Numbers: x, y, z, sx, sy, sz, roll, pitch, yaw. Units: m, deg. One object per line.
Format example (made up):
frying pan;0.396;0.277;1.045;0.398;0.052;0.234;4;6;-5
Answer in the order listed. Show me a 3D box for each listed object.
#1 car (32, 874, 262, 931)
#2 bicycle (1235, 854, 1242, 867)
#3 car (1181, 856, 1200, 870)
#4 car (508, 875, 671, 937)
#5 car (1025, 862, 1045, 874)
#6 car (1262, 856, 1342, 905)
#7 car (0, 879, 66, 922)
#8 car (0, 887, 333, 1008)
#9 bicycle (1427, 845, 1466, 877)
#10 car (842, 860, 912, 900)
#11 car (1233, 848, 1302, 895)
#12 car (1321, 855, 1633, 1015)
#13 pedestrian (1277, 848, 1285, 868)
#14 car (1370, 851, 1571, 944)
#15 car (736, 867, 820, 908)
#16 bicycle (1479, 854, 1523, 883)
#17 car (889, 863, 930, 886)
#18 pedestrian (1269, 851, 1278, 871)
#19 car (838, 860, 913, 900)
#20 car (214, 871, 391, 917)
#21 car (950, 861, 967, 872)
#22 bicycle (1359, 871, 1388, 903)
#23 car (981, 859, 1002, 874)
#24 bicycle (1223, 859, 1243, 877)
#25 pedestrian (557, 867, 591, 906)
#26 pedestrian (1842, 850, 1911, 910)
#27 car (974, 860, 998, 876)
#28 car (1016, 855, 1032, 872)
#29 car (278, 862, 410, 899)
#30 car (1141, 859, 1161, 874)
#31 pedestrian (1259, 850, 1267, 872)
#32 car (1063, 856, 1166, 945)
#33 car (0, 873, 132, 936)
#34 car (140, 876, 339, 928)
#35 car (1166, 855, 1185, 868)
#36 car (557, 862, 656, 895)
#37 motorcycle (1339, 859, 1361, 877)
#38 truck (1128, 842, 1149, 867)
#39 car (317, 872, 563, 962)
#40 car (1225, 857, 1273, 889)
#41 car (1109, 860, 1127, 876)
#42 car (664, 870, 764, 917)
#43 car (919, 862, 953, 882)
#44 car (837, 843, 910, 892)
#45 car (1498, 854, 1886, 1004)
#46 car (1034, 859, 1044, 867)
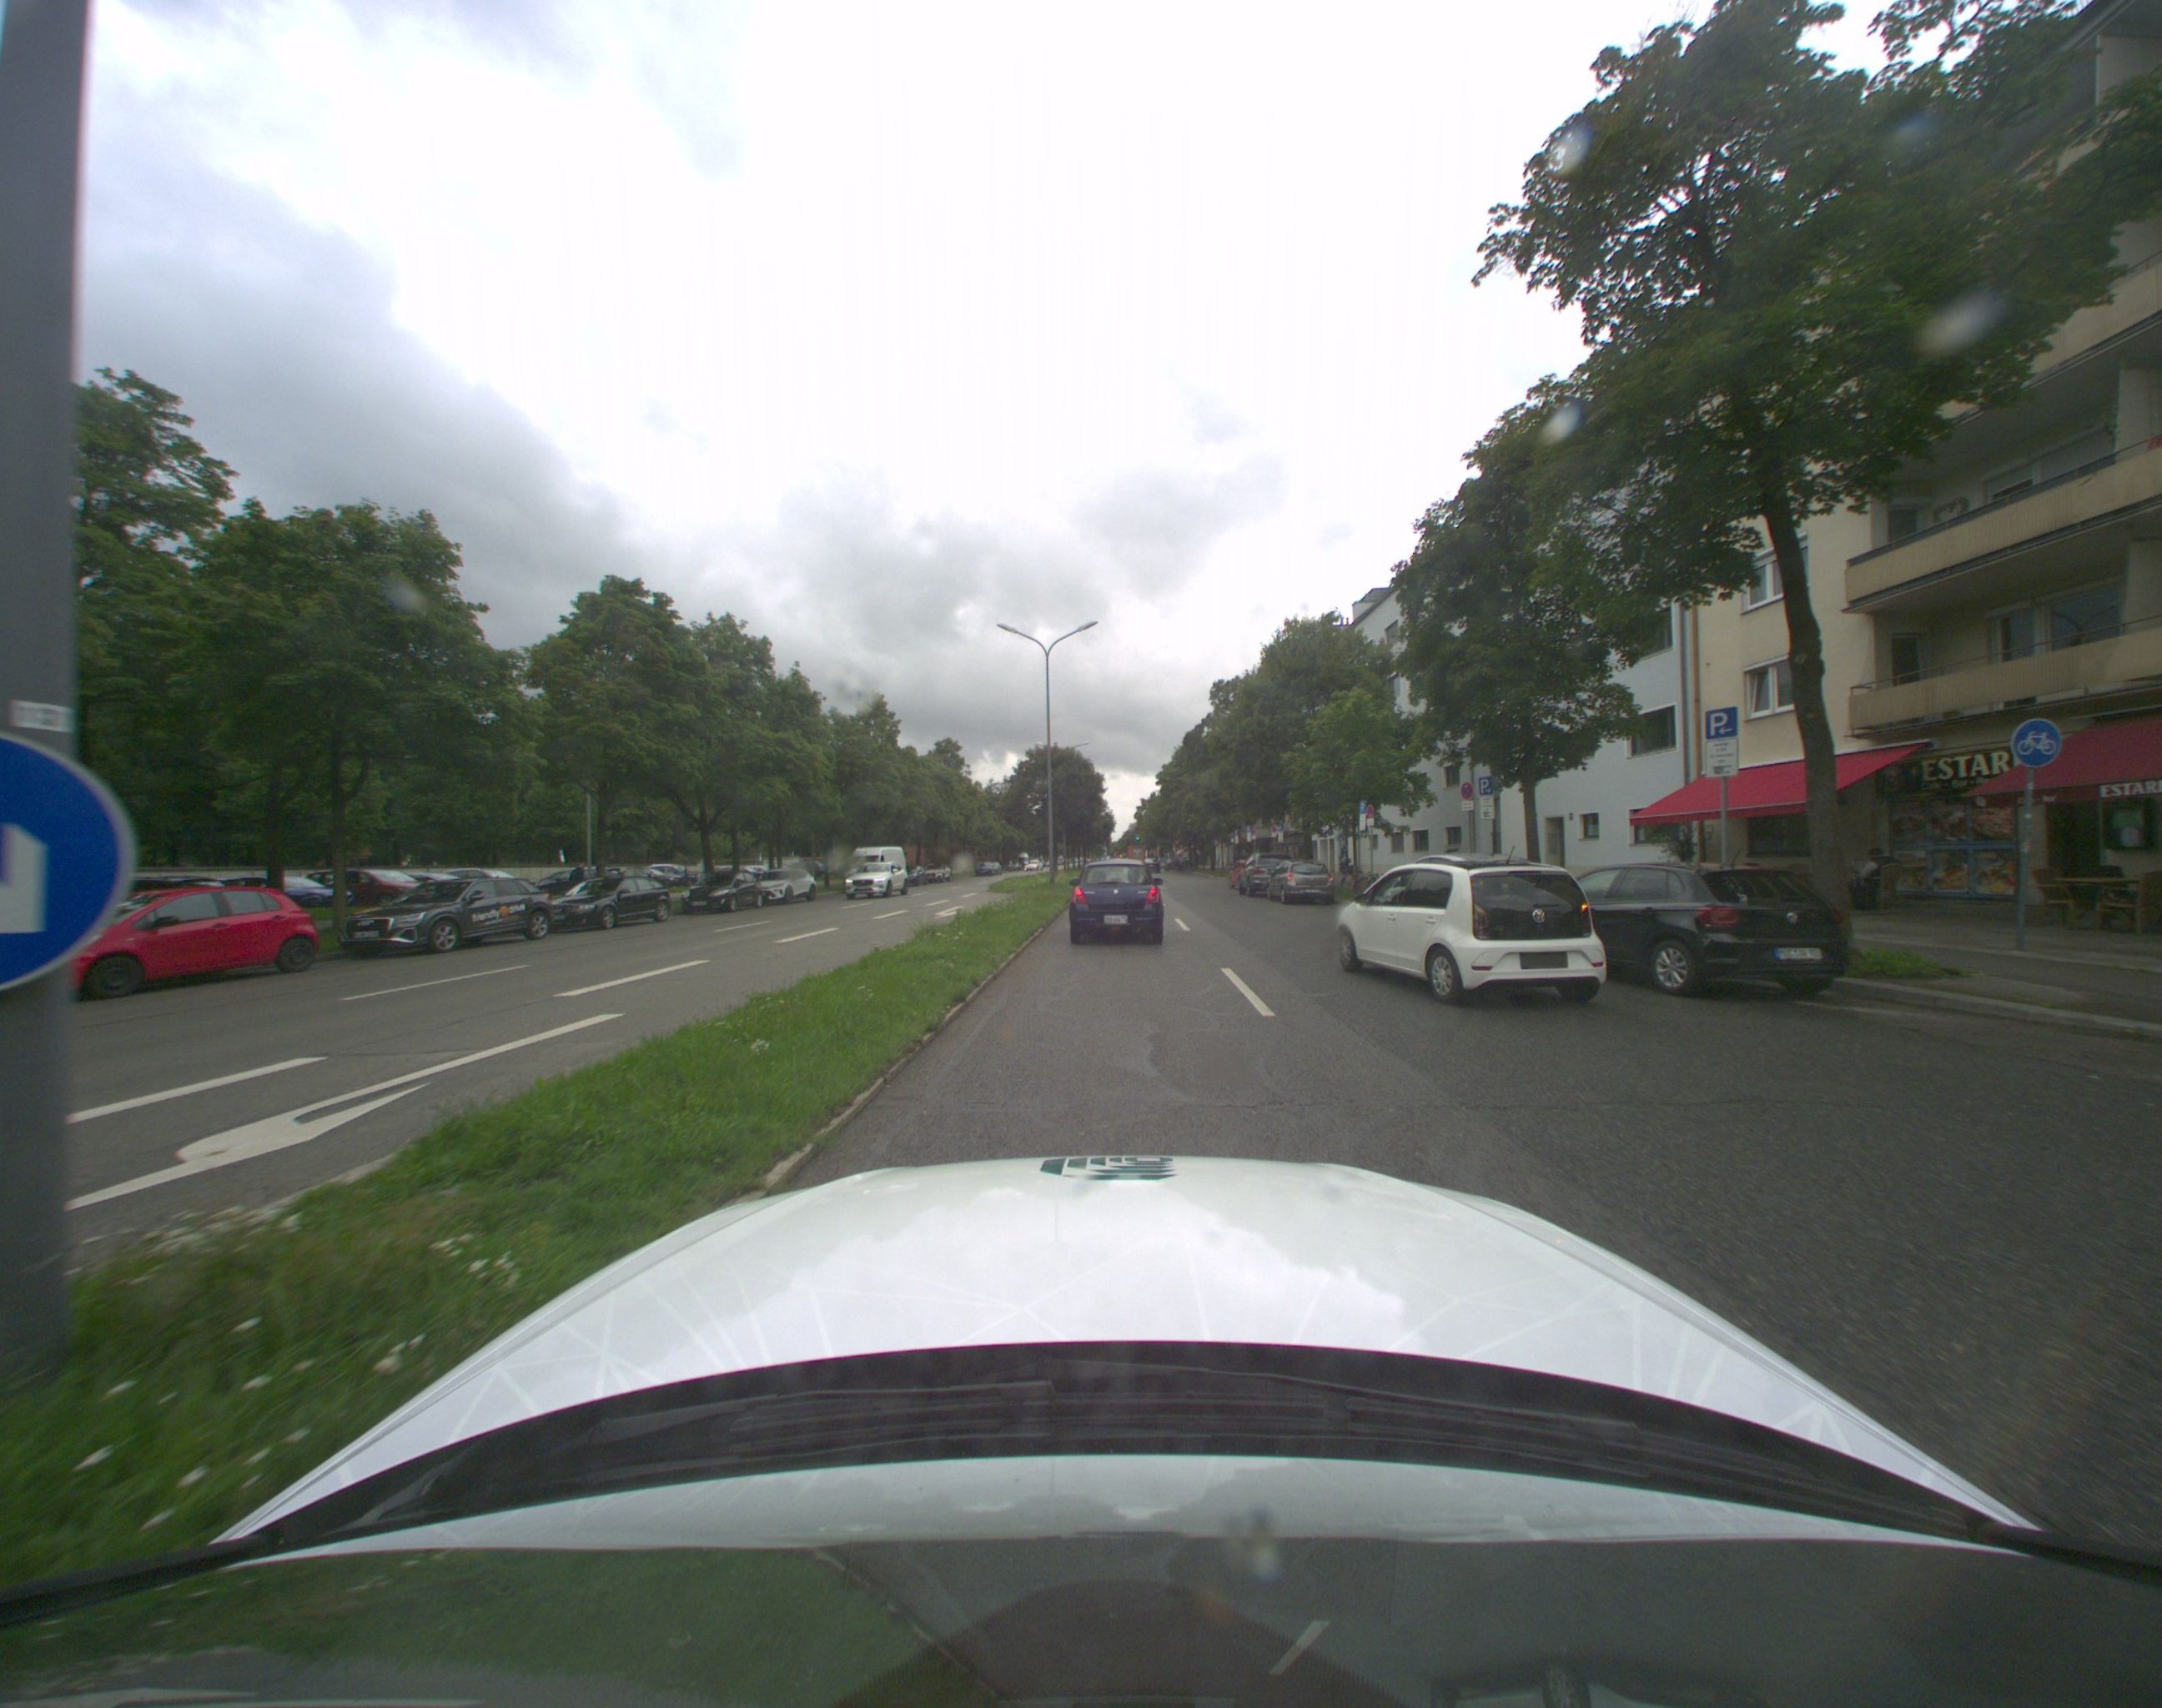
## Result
car;-26.110;1.331;22.889;4.121;1.442;2.000;-1;0;0
bicycle;18.129;0.748;93.624;0.577;1.463;1.689;-1;0;3
car;13.469;1.130;100.512;1.985;1.643;4.336;-1;0;3
car;-13.434;1.374;22.586;1.813;1.409;4.005;-3;0;5
car;-6.514;1.946;115.179;1.749;1.537;4.328;-4;0;11
car;7.537;0.862;28.119;1.823;1.522;3.771;-1;0;1
car;-40.044;1.698;29.339;4.488;1.442;2.001;-1;0;1
car;-14.120;1.288;12.432;1.815;1.479;3.810;-1;-1;1
bicycle;16.938;0.335;37.805;0.700;1.407;2.594;-3;0;3
car;-9.309;1.156;37.584;1.843;1.600;4.406;-3;0;3
car;7.442;0.687;32.955;1.823;1.746;4.509;-1;0;1
car;4.333;0.781;9.537;1.685;1.490;3.426;-1;0;-7
pedestrian;16.773;0.340;68.283;0.539;1.640;0.725;-1;-1;2
car;7.276;0.735;15.805;1.823;1.522;4.524;-1;0;1
car;-12.825;1.388;34.717;1.815;1.528;4.300;-3;-1;1
bicycle;16.656;0.557;32.340;0.619;1.046;2.197;-5;-1;3
car;-11.840;1.403;56.493;1.850;1.491;4.252;-1;-1;1
pedestrian;15.981;0.614;67.572;0.546;1.629;0.641;-3;-1;2
car;-9.402;1.152;37.728;2.017;1.620;4.687;-2;0;3
car;-26.492;1.336;27.842;3.978;1.442;1.998;-1;0;-3
car;-18.304;1.812;121.608;1.807;1.536;4.300;0;0;2
bicycle;9.317;1.024;25.973;0.384;0.947;1.676;-1;0;3
car;-10.127;1.392;92.085;1.632;1.537;4.317;-4;0;2
bicycle;10.825;1.022;58.057;0.455;1.256;2.138;-1;0;-16
pedestrian;-20.504;1.305;32.964;0.791;1.495;0.857;-2;0;2
pedestrian;15.885;0.503;16.277;0.740;1.163;0.647;-1;0;2
car;-10.137;1.468;87.086;1.880;1.537;4.315;-4;0;1
car;-9.820;1.607;140.429;2.178;2.954;6.190;0;0;0
car;-34.851;1.240;38.598;4.488;1.625;2.001;-1;0;1
car;7.096;1.288;83.362;1.814;1.477;4.693;1;0;2
pedestrian;15.104;0.576;67.631;0.498;1.733;0.733;-1;-1;2
car;0.692;0.811;15.972;1.745;1.505;4.003;-1;0;3
car;-26.615;1.231;20.055;3.978;1.442;1.998;-1;0;-3
car;-26.149;1.449;25.441;3.978;1.442;1.998;-1;0;-3
car;10.773;0.872;93.072;1.985;1.452;4.003;-1;0;3
car;-24.181;1.245;41.552;3.969;1.570;1.816;-1;0;4
motorcycle;16.865;0.885;51.066;0.758;1.086;2.201;-2;0;3
truck;8.628;0.110;123.905;3.028;3.557;13.686;-1;0;3
car;-13.471;1.237;17.487;1.813;1.599;4.117;-1;0;4
car;8.183;0.890;39.965;1.516;1.441;3.999;-1;0;0
car;3.591;1.349;80.262;1.712;1.501;4.303;-1;0;2
car;-13.046;1.360;29.238;1.817;1.447;3.997;-3;0;-2
car;-11.348;1.450;63.994;1.850;1.491;4.143;-1;-1;1
car;-12.257;0.720;48.814;2.131;2.643;7.110;-2;0;3
car;7.156;0.761;10.144;1.825;1.473;3.884;-1;0;-2
car;-8.882;1.905;172.937;1.699;1.534;4.002;-1;0;2
